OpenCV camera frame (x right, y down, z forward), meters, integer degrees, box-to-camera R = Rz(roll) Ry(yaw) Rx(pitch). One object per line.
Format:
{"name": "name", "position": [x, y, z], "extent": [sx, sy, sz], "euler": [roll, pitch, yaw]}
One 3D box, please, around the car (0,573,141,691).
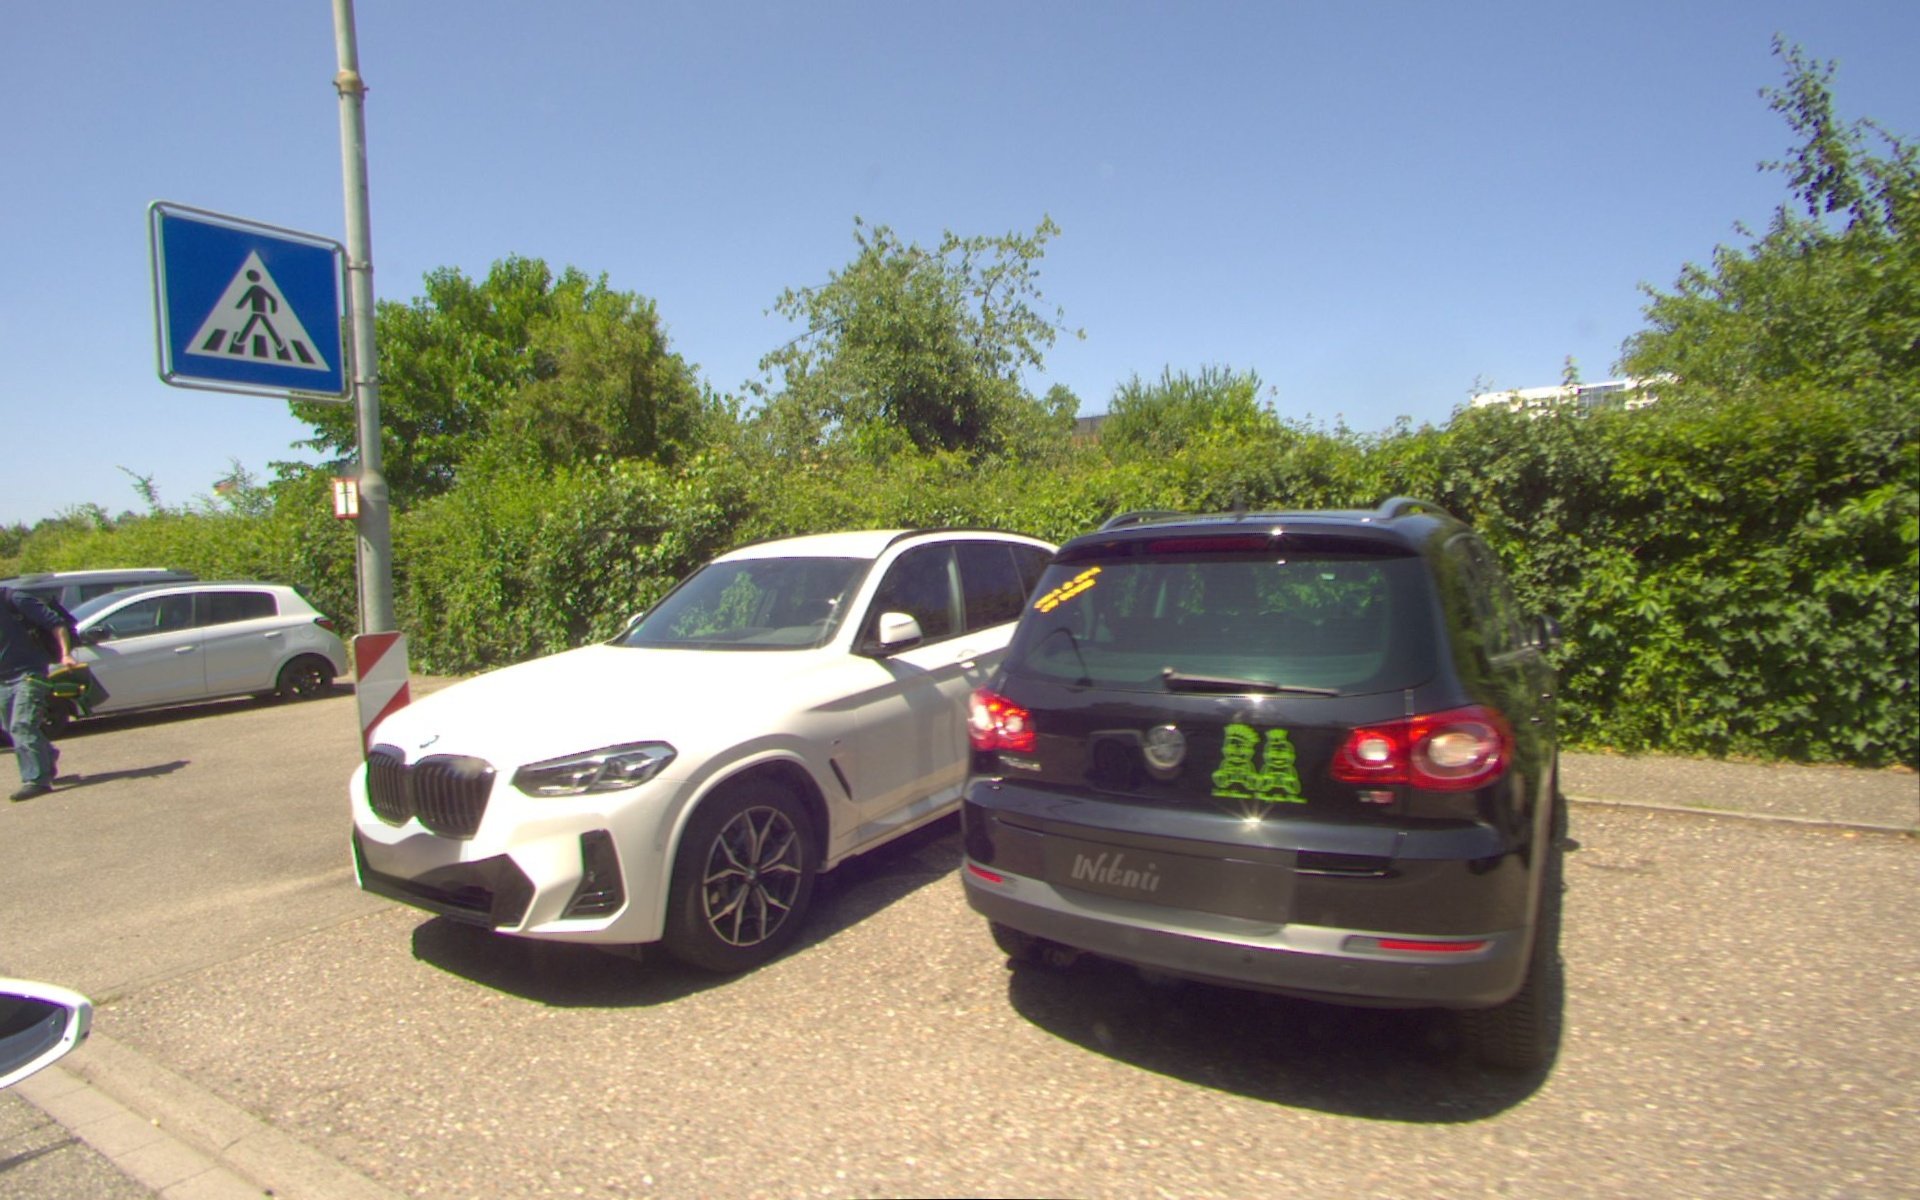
{"name": "car", "position": [-14.075, 0.502, 14.164], "extent": [1.515, 1.549, 3.445], "euler": [0, 5, 28]}

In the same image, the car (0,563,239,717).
{"name": "car", "position": [-11.708, 0.484, 12.529], "extent": [1.637, 1.664, 3.953], "euler": [0, 5, 27]}

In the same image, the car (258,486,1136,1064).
{"name": "car", "position": [-0.796, 0.432, 5.377], "extent": [1.825, 1.753, 4.440], "euler": [0, 3, 33]}

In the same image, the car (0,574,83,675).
{"name": "car", "position": [-16.553, 0.495, 15.536], "extent": [1.835, 1.545, 3.955], "euler": [0, 5, 27]}

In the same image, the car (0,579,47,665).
{"name": "car", "position": [-18.660, 0.456, 17.723], "extent": [1.566, 1.525, 3.374], "euler": [2, 4, 36]}

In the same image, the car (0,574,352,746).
{"name": "car", "position": [-9.183, 0.558, 11.206], "extent": [1.588, 1.472, 3.673], "euler": [1, 6, 36]}

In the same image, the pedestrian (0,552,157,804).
{"name": "pedestrian", "position": [-7.033, 0.547, 7.647], "extent": [1.006, 1.776, 1.154], "euler": [-4, 4, -24]}

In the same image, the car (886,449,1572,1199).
{"name": "car", "position": [1.568, 0.439, 4.273], "extent": [1.741, 1.709, 3.962], "euler": [1, 3, 32]}
